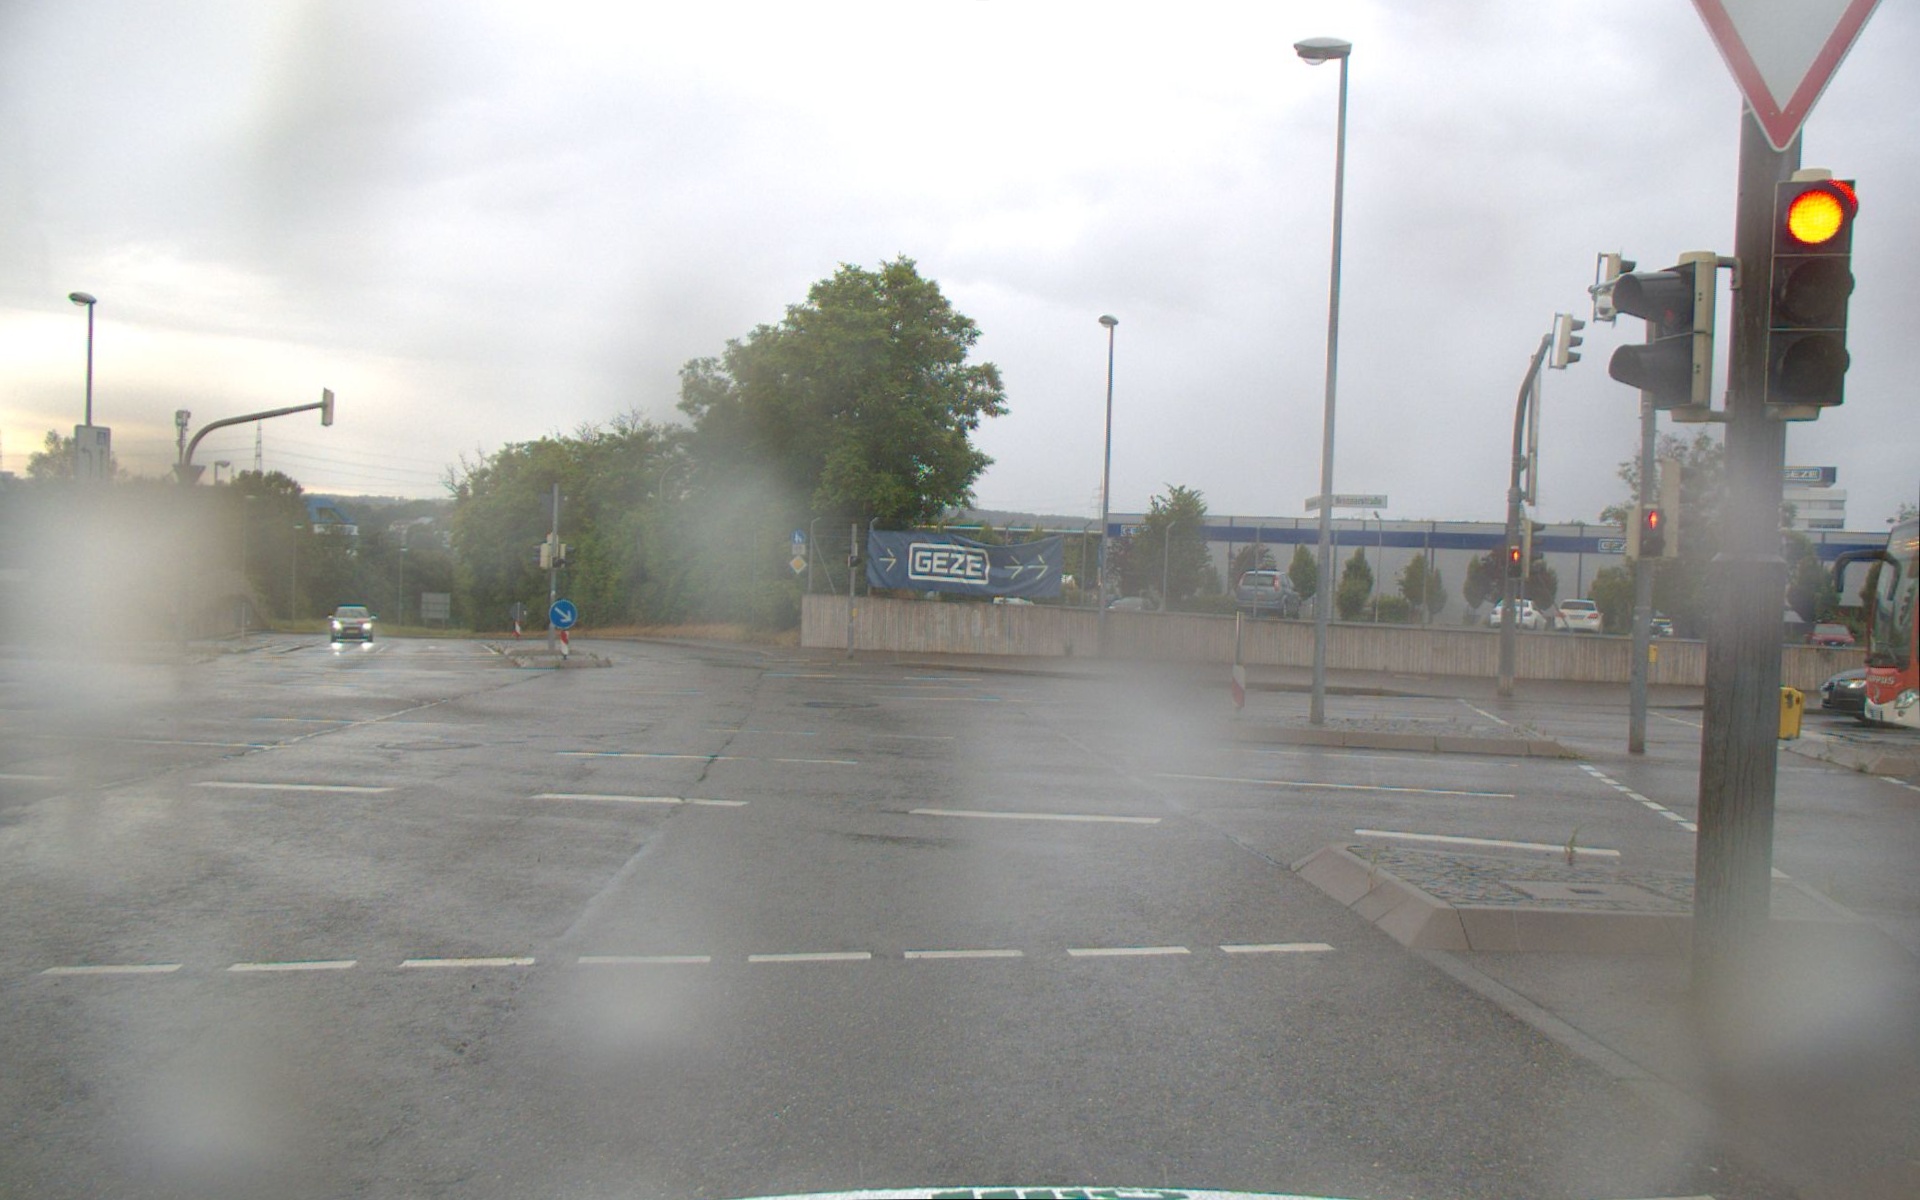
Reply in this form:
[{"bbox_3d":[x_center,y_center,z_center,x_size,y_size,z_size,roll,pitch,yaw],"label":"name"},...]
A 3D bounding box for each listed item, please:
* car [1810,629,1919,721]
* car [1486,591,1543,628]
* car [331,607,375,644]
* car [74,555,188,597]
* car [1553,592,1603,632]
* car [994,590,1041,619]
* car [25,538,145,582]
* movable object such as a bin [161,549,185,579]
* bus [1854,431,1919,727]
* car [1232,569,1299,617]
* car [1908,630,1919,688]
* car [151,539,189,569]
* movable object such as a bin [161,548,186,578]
[{"bbox_3d":[16.284,1.236,26.663,4.286,1.378,1.827,2,0,16],"label":"car"},{"bbox_3d":[23.039,0.405,68.686,1.781,1.459,4.100,1,0,25],"label":"car"},{"bbox_3d":[-26.193,1.086,71.360,1.638,1.521,3.973,1,-1,-22],"label":"car"},{"bbox_3d":[-35.225,-1.008,70.316,3.902,1.614,1.903,1,-2,12],"label":"car"},{"bbox_3d":[25.455,0.490,68.092,1.820,1.552,4.103,1,0,22],"label":"car"},{"bbox_3d":[3.357,0.291,95.936,1.632,1.634,3.531,1,0,20],"label":"car"},{"bbox_3d":[-35.845,-1.620,67.814,3.902,1.614,1.903,1,-2,8],"label":"car"},{"bbox_3d":[-41.614,-1.913,87.458,1.071,1.462,1.434,3,-2,-27],"label":"movable object such as a bin"},{"bbox_3d":[17.826,0.051,19.823,11.995,3.638,2.988,3,0,17],"label":"bus"},{"bbox_3d":[10.654,-0.224,57.589,1.707,1.580,3.531,1,0,20],"label":"car"},{"bbox_3d":[34.830,2.108,58.422,1.707,2.049,3.824,1,0,20],"label":"car"},{"bbox_3d":[-45.302,-2.637,94.795,1.806,1.467,3.964,3,-2,-27],"label":"car"},{"bbox_3d":[-40.958,-1.906,86.154,1.071,1.462,1.434,3,-2,-27],"label":"movable object such as a bin"}]
